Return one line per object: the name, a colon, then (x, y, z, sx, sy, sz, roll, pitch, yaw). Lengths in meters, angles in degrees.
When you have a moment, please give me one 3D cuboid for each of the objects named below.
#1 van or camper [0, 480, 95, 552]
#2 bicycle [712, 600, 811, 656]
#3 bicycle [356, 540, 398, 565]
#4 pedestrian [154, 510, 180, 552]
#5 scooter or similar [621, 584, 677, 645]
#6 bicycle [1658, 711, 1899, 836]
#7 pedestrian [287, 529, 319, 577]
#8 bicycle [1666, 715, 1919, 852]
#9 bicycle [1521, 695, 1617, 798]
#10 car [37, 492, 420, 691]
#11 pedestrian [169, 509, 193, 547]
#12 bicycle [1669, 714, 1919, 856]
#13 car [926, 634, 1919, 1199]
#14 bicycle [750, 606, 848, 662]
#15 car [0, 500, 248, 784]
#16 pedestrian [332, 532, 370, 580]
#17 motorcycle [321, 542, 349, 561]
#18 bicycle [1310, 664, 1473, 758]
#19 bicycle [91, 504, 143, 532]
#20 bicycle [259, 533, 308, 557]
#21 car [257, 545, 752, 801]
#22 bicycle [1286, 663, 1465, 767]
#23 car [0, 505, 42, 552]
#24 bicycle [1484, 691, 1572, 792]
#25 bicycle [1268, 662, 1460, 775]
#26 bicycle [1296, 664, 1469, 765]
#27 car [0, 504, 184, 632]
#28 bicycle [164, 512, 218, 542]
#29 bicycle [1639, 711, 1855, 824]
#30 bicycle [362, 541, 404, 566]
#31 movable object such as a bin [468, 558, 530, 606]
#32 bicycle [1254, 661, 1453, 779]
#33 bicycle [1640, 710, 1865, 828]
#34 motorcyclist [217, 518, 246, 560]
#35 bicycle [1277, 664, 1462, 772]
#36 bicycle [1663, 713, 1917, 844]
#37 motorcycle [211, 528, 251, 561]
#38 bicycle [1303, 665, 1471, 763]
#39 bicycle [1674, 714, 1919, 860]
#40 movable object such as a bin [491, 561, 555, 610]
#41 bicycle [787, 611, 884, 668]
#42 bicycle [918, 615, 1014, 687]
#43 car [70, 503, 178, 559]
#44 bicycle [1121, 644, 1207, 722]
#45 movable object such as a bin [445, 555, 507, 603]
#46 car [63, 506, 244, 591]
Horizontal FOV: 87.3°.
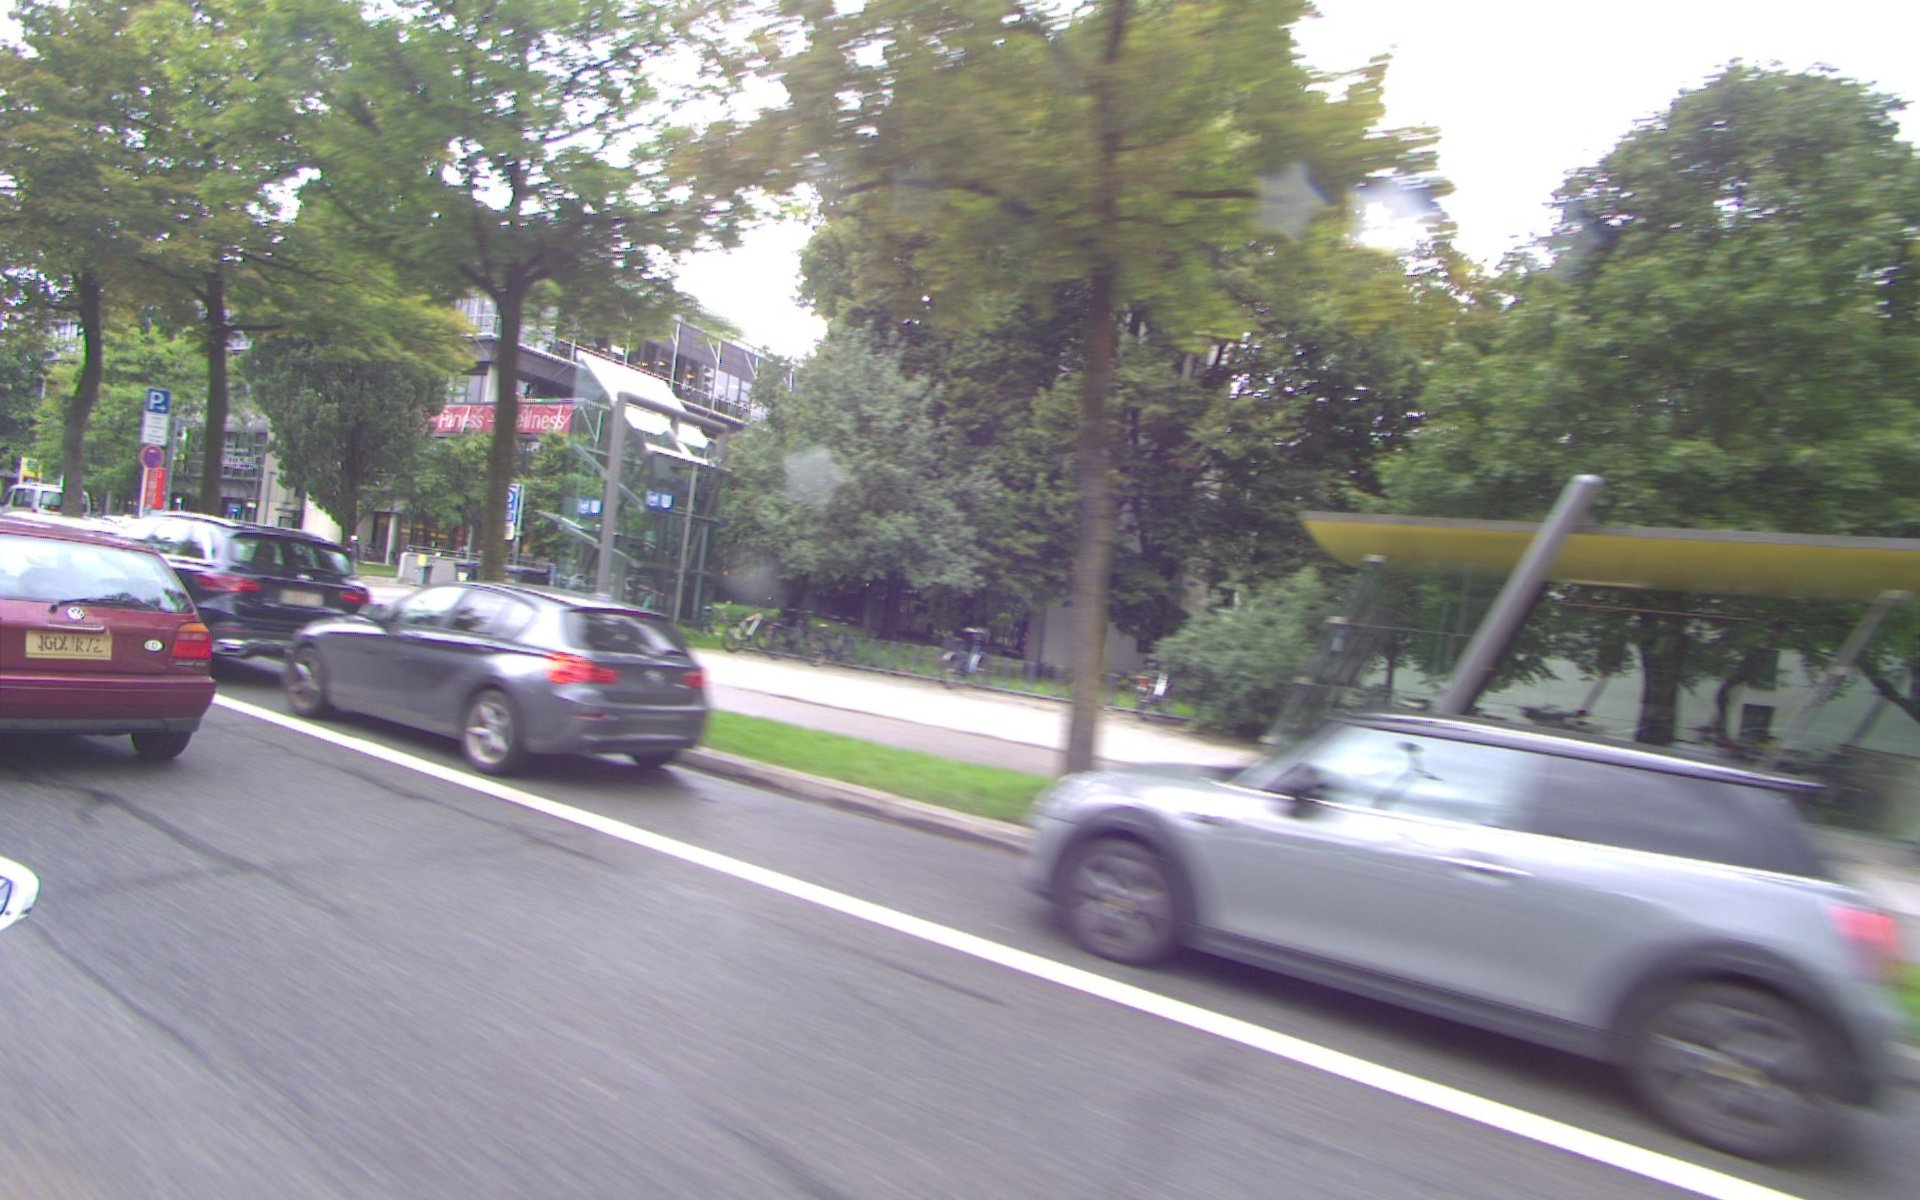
van or camper: (-39.617, -3.655, 43.134, 5.858, 2.589, 1.996, 7, 0, 32)
bicycle: (-4.651, 0.691, 23.808, 0.636, 1.102, 2.546, 7, -1, 31)
bicycle: (-35.240, -2.866, 60.850, 0.577, 1.219, 2.141, 7, -1, 29)
pedestrian: (-35.196, -3.073, 44.639, 0.720, 1.772, 0.575, 7, 0, 36)
scooter or similar: (-7.141, 0.321, 23.098, 1.217, 1.247, 0.420, 7, -1, 34)
bicycle: (11.688, 2.443, 14.503, 2.508, 1.296, 0.646, 7, 0, 32)
pedestrian: (-25.403, -1.823, 38.893, 0.971, 1.744, 0.539, 7, 2, 32)
bicycle: (10.947, 2.359, 13.279, 2.508, 1.296, 0.646, 7, 0, 32)
bicycle: (9.197, 2.165, 15.302, 0.483, 1.296, 2.552, 7, -1, 17)
car: (-8.411, -0.140, 11.461, 4.518, 1.695, 1.790, 7, -1, 31)
pedestrian: (-38.359, -3.554, 49.535, 0.720, 1.772, 0.575, 7, 0, 36)
bicycle: (10.595, 2.289, 12.710, 2.508, 1.296, 0.646, 7, 0, 32)
car: (2.009, 1.180, 5.157, 4.010, 1.471, 1.636, 7, -1, 32)
bicycle: (-3.651, 0.808, 23.157, 0.636, 1.102, 2.546, 7, -1, 31)
car: (-6.494, 0.059, 6.449, 3.884, 1.471, 1.625, 7, -1, 31)
pedestrian: (-23.765, -1.697, 39.253, 0.924, 1.744, 0.828, 7, 2, 31)
motorcycle: (-36.785, -2.855, 59.214, 1.545, 0.876, 0.852, 6, -1, 39)
bicycle: (7.720, 1.962, 18.077, 2.508, 1.296, 0.605, 7, 0, 32)
bicycle: (-58.923, -5.739, 70.340, 0.784, 1.526, 2.617, 7, -1, 25)
bicycle: (-36.649, -2.978, 54.516, 2.016, 0.969, 0.744, 7, 0, -15)
car: (-4.006, 0.508, 8.643, 4.232, 1.456, 1.636, 7, -1, 31)
bicycle: (6.739, 1.835, 16.405, 2.508, 1.296, 0.646, 7, 0, 32)
car: (-34.841, -2.739, 34.663, 4.749, 1.471, 1.690, 7, -1, 1)
bicycle: (8.679, 2.113, 15.469, 0.483, 1.296, 2.552, 7, -1, 17)
bicycle: (6.077, 1.746, 15.232, 2.508, 1.296, 0.646, 7, 0, 32)
bicycle: (7.097, 1.900, 16.967, 2.508, 1.296, 0.646, 7, 0, 32)
car: (-13.144, -0.566, 14.378, 4.408, 1.451, 1.656, 7, -1, 31)
bicycle: (-48.447, -4.600, 63.397, 0.783, 1.526, 2.619, 7, -1, 18)
bicycle: (12.287, 2.582, 15.835, 2.508, 1.296, 0.646, 7, 0, 32)
bicycle: (-34.719, -2.804, 60.555, 0.577, 1.219, 2.141, 7, -1, 29)
movable object such as a bin: (-15.909, -0.604, 34.735, 1.292, 1.426, 1.338, 7, -1, 30)
bicycle: (5.684, 1.703, 14.630, 2.508, 1.296, 0.646, 7, 0, 32)
bicycle: (11.905, 2.504, 15.248, 2.508, 1.296, 0.646, 7, 0, 32)
motorcyclist: (-32.694, -2.739, 45.145, 0.937, 1.761, 0.690, 7, 4, 31)
bicycle: (6.402, 1.816, 15.823, 2.508, 1.296, 0.646, 7, 0, 32)
bicycle: (11.303, 2.391, 13.840, 2.508, 1.296, 0.646, 7, 0, 32)
motorcycle: (-32.756, -2.508, 45.184, 2.032, 1.309, 0.695, 7, 4, 32)
bicycle: (7.411, 1.946, 17.531, 2.508, 1.296, 0.605, 7, 0, 32)
bicycle: (10.254, 2.220, 12.136, 2.508, 1.296, 0.646, 7, 0, 32)
movable object such as a bin: (-14.782, -0.473, 34.051, 1.292, 1.426, 1.338, 7, -1, 30)
bicycle: (-2.758, 0.912, 22.608, 0.636, 1.102, 2.546, 7, -1, 31)
bicycle: (0.170, 1.082, 20.639, 0.636, 1.296, 2.546, 7, -1, 31)
car: (-32.543, -2.688, 39.164, 3.934, 1.671, 1.996, 7, -1, 32)
bicycle: (3.857, 1.565, 18.840, 0.636, 1.296, 2.546, 7, -1, 31)
movable object such as a bin: (-17.042, -0.735, 35.414, 1.292, 1.426, 1.338, 7, -1, 30)
car: (-19.924, -1.198, 25.144, 1.947, 1.644, 4.825, 8, -2, -20)
